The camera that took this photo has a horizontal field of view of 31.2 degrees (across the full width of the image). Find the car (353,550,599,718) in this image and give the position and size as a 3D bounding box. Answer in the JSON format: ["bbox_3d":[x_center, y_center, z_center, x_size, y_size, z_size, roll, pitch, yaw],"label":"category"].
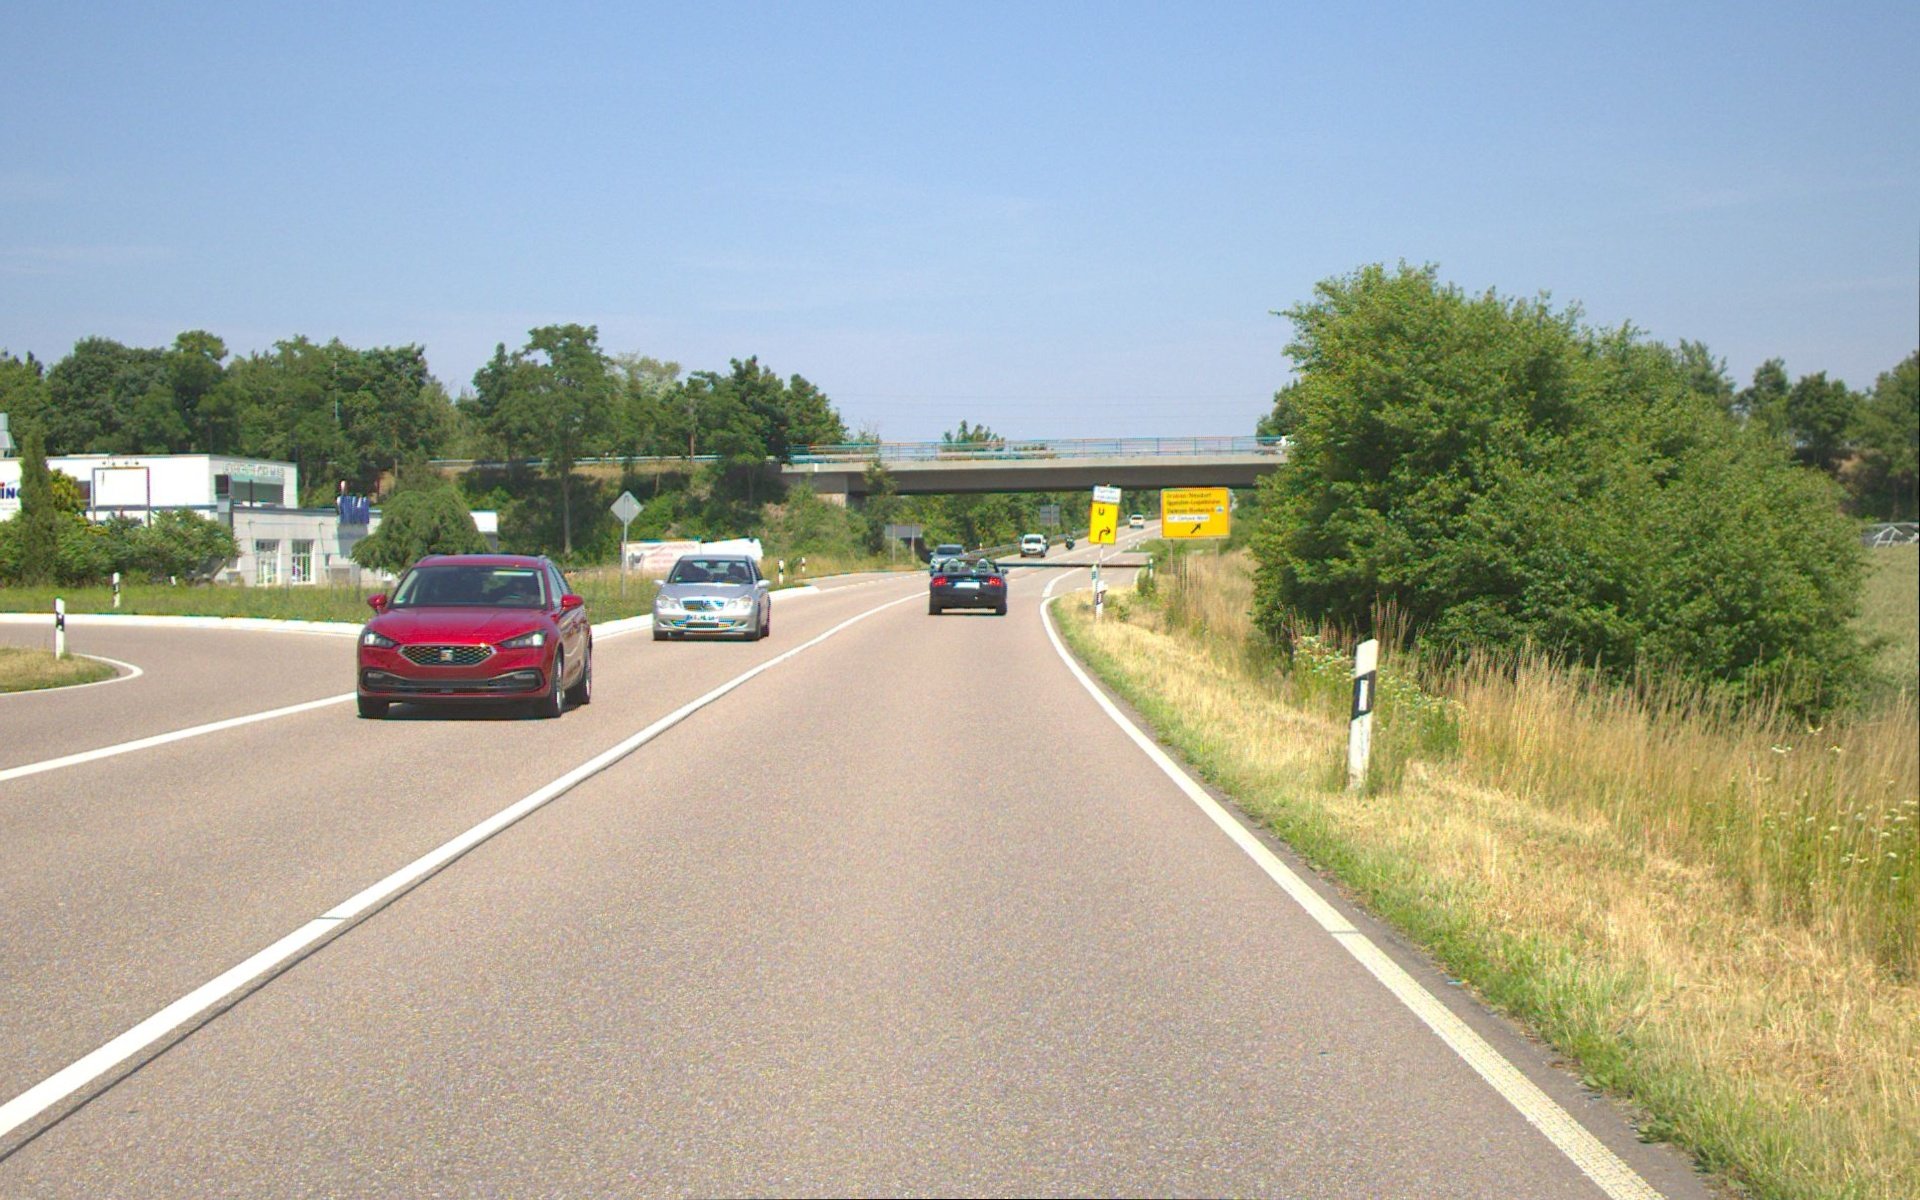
[{"bbox_3d":[-4.409,0.261,31.909,1.742,1.407,4.625,1,1,-2],"label":"car"}]

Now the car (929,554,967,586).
[{"bbox_3d":[-0.597,-1.504,174.081,1.831,1.562,3.334,1,0,-1],"label":"car"}]

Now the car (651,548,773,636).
[{"bbox_3d":[-4.126,-0.161,57.839,1.731,1.386,4.492,1,1,0],"label":"car"}]

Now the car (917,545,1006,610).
[{"bbox_3d":[0.008,-0.532,78.611,1.814,1.436,4.001,0,1,-3],"label":"car"}]
